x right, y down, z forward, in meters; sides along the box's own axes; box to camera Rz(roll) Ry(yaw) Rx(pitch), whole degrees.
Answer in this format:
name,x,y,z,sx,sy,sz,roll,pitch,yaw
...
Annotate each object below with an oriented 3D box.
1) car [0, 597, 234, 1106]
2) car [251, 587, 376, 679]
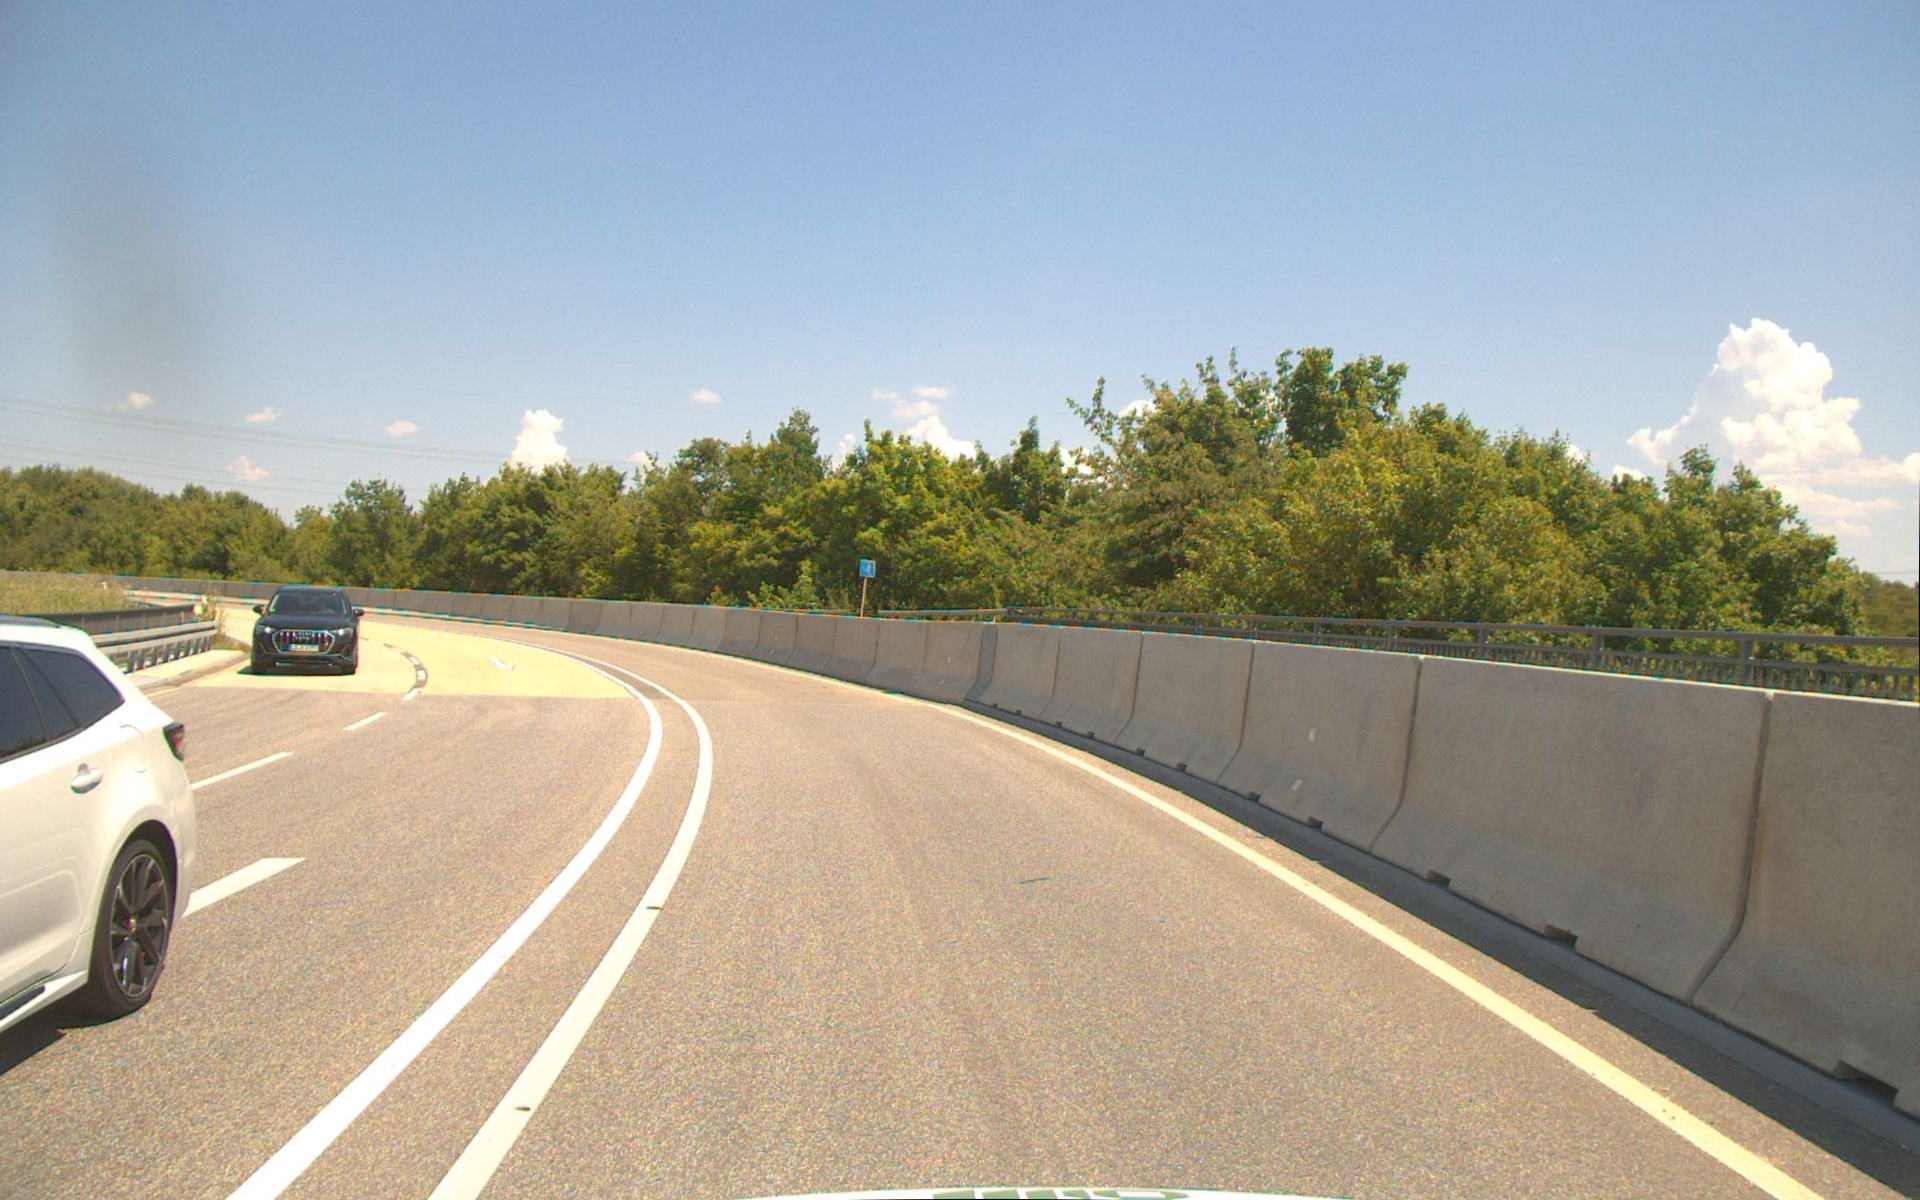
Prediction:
name,x,y,z,sx,sy,sz,roll,pitch,yaw
car,-3.622,0.723,4.511,1.709,1.484,4.361,1,0,-6
car,-12.392,0.566,31.925,1.785,1.624,4.429,0,1,-16
